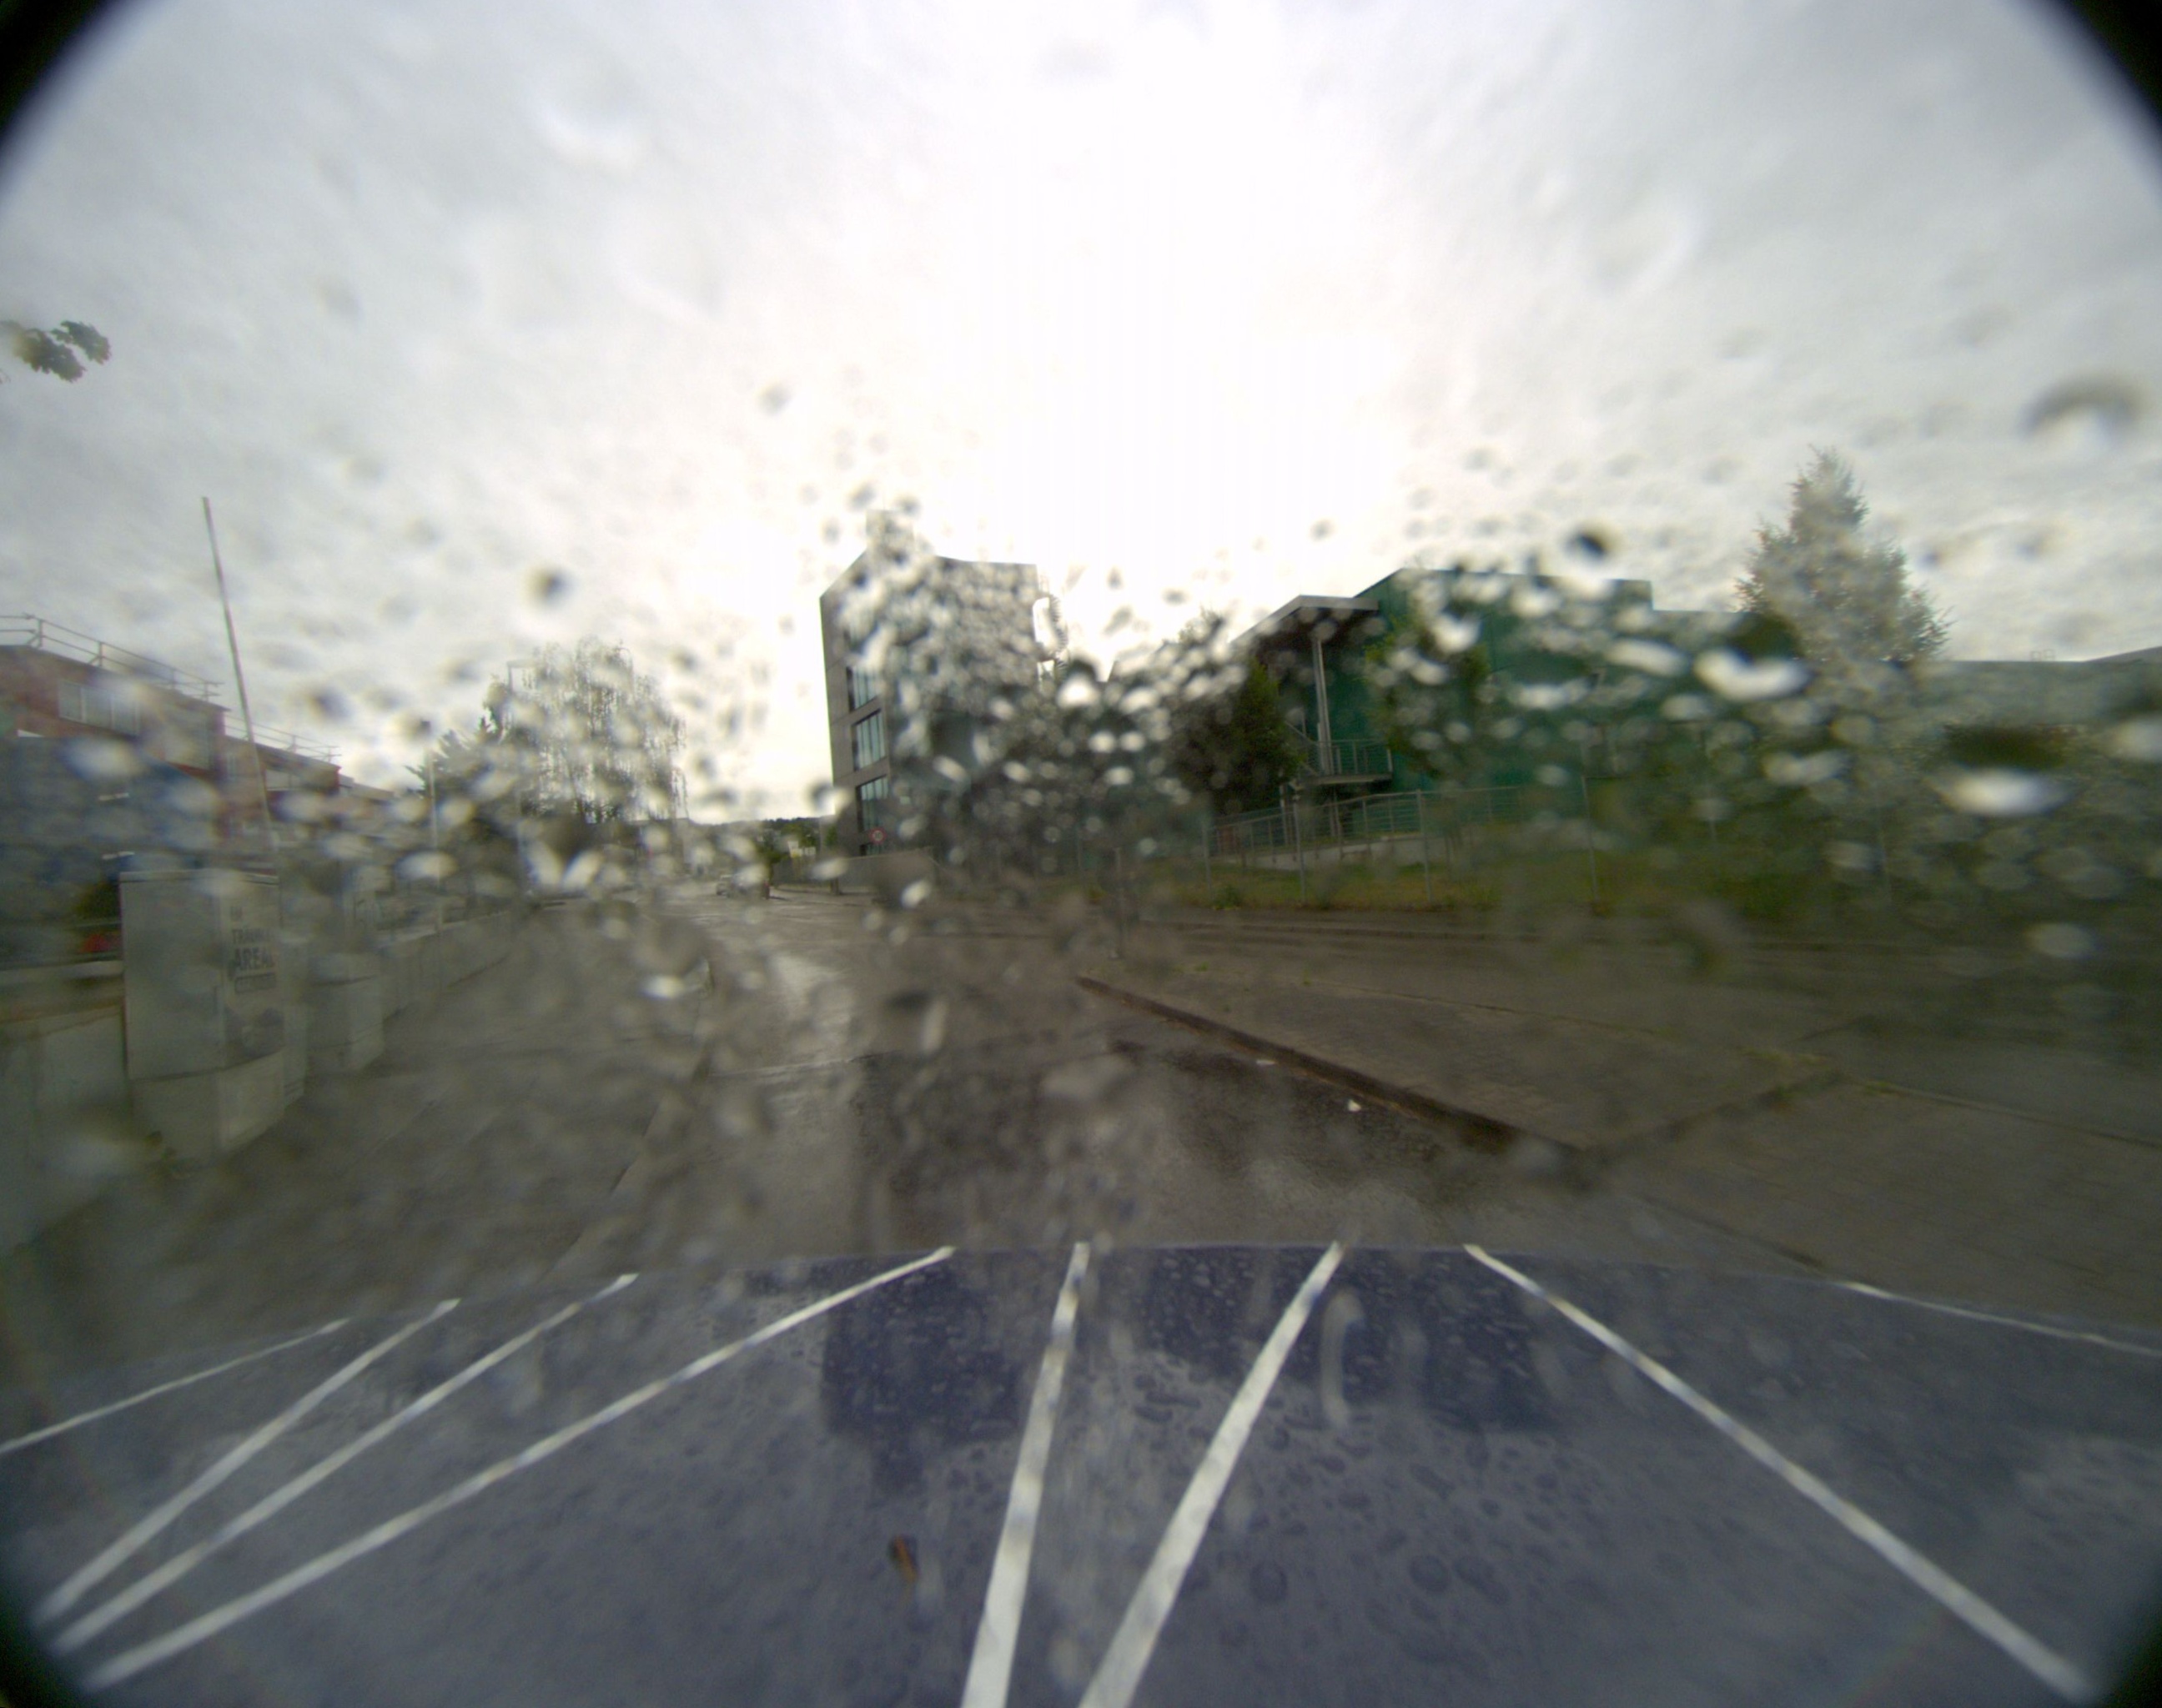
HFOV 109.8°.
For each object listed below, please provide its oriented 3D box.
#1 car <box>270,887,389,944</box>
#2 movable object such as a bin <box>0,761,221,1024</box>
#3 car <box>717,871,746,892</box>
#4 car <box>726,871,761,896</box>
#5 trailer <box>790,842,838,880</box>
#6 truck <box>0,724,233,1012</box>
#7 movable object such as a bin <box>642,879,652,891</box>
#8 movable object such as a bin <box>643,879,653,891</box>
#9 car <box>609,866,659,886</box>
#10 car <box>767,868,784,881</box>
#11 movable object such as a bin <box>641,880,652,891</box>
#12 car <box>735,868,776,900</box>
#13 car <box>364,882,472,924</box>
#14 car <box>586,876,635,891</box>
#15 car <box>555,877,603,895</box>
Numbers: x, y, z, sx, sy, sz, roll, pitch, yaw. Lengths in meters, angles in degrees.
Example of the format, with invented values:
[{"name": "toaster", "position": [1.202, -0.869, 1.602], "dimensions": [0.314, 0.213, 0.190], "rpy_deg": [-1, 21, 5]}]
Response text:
[{"name": "car", "position": [-29.223, 2.331, 29.711], "dimensions": [2.002, 1.827, 3.992], "rpy_deg": [-3, 0, -25]}, {"name": "movable object such as a bin", "position": [-6.872, 0.250, 4.918], "dimensions": [1.313, 1.492, 1.854], "rpy_deg": [-3, 1, -37]}, {"name": "car", "position": [-28.175, 2.170, 61.202], "dimensions": [1.743, 1.527, 4.241], "rpy_deg": [-4, 0, -29]}, {"name": "car", "position": [-22.899, 1.947, 51.439], "dimensions": [1.640, 1.549, 4.075], "rpy_deg": [-3, 0, -31]}, {"name": "trailer", "position": [-31.077, 0.799, 88.487], "dimensions": [4.690, 4.065, 2.392], "rpy_deg": [-3, 1, 20]}, {"name": "truck", "position": [-9.245, 0.145, 5.438], "dimensions": [2.115, 2.201, 5.642], "rpy_deg": [-3, 0, -25]}, {"name": "movable object such as a bin", "position": [-41.972, 3.024, 73.547], "dimensions": [0.737, 1.084, 0.593], "rpy_deg": [-3, 1, -24]}, {"name": "movable object such as a bin", "position": [-42.212, 3.027, 74.112], "dimensions": [0.737, 1.084, 0.593], "rpy_deg": [-3, 1, -24]}, {"name": "car", "position": [-59.482, 2.948, 101.223], "dimensions": [5.159, 2.281, 2.199], "rpy_deg": [-3, 1, -16]}, {"name": "car", "position": [-50.728, 3.310, 126.211], "dimensions": [2.000, 2.002, 3.996], "rpy_deg": [-3, 0, -12]}, {"name": "movable object such as a bin", "position": [-41.730, 3.018, 72.982], "dimensions": [0.737, 1.084, 0.593], "rpy_deg": [-3, 1, -24]}, {"name": "car", "position": [-20.173, 1.808, 46.953], "dimensions": [1.747, 1.787, 3.949], "rpy_deg": [-3, 0, -31]}, {"name": "car", "position": [-31.547, 2.264, 36.335], "dimensions": [2.003, 1.570, 4.506], "rpy_deg": [-5, 1, -15]}, {"name": "car", "position": [-56.777, 3.513, 91.794], "dimensions": [4.629, 1.488, 1.938], "rpy_deg": [-3, 0, -18]}, {"name": "car", "position": [-50.687, 3.187, 76.808], "dimensions": [3.754, 1.531, 1.628], "rpy_deg": [-3, 0, -20]}]
